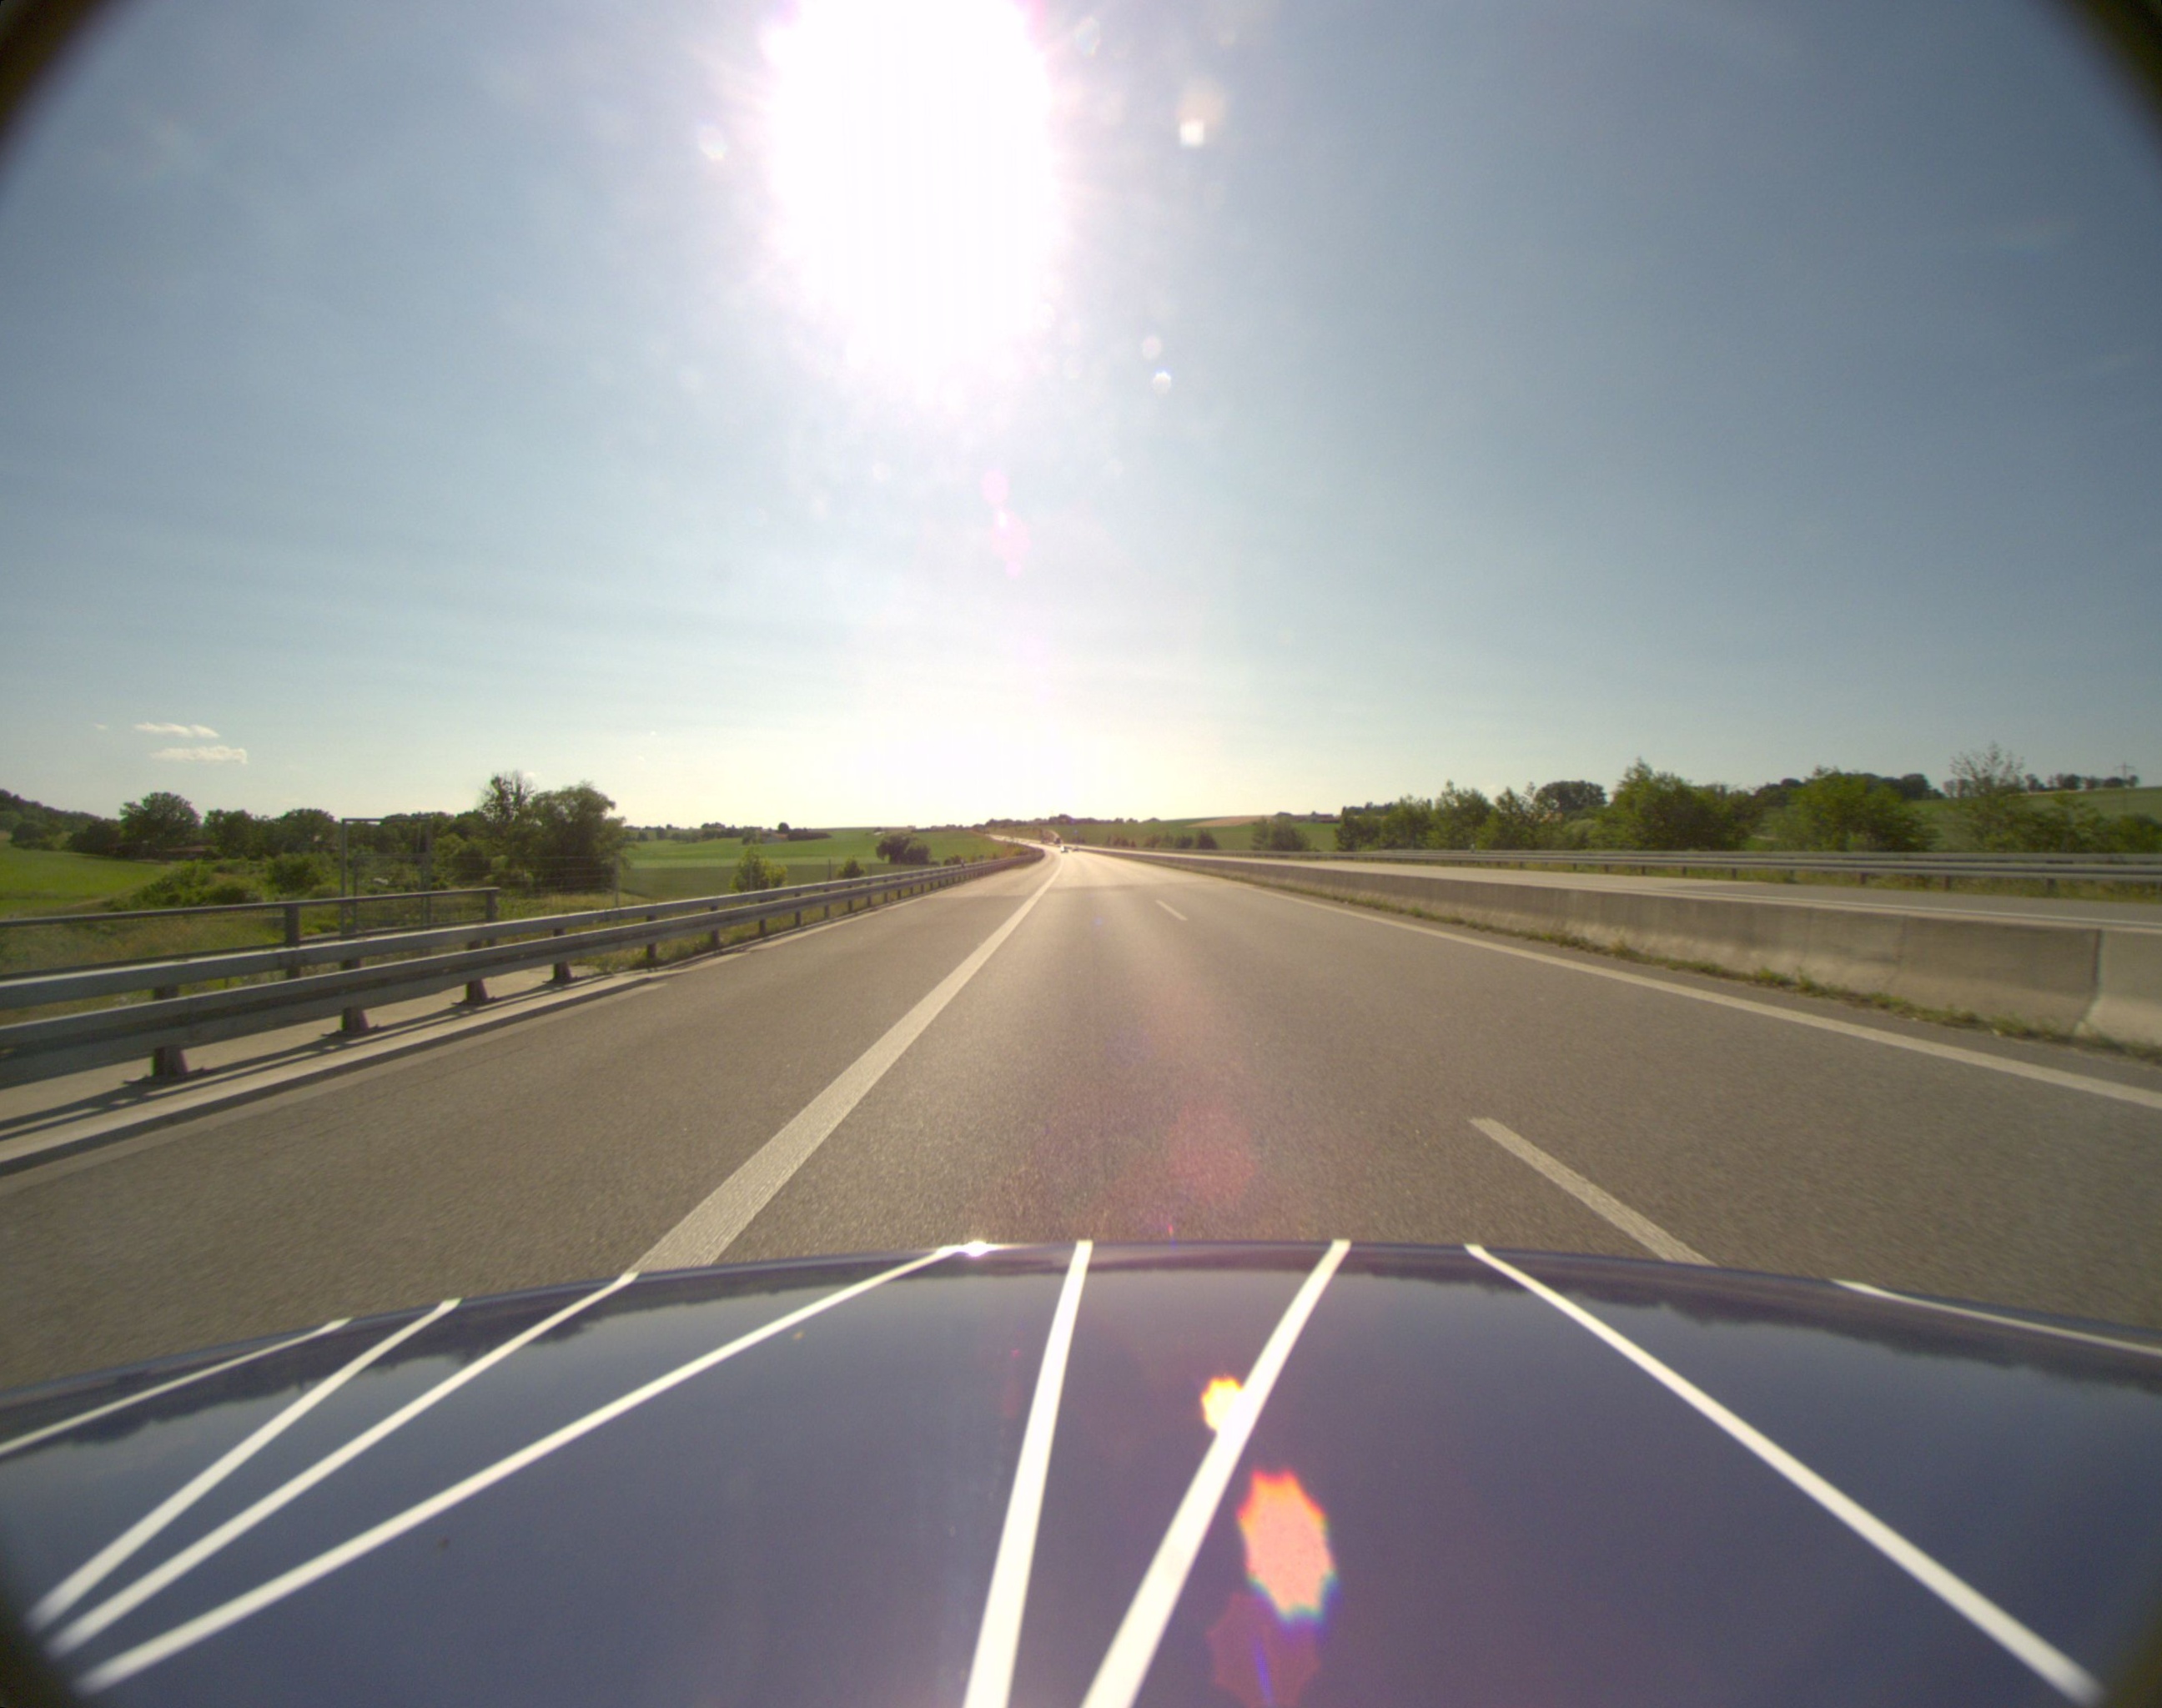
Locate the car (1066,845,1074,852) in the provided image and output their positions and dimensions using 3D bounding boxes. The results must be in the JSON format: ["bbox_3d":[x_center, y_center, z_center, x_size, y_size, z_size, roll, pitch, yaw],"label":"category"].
[{"bbox_3d":[-2.819,-1.387,194.733,1.715,1.580,4.625,-3,2,-1],"label":"car"}]

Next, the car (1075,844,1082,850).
[{"bbox_3d":[-0.718,-1.919,214.562,1.715,1.580,4.625,-3,2,-1],"label":"car"}]
